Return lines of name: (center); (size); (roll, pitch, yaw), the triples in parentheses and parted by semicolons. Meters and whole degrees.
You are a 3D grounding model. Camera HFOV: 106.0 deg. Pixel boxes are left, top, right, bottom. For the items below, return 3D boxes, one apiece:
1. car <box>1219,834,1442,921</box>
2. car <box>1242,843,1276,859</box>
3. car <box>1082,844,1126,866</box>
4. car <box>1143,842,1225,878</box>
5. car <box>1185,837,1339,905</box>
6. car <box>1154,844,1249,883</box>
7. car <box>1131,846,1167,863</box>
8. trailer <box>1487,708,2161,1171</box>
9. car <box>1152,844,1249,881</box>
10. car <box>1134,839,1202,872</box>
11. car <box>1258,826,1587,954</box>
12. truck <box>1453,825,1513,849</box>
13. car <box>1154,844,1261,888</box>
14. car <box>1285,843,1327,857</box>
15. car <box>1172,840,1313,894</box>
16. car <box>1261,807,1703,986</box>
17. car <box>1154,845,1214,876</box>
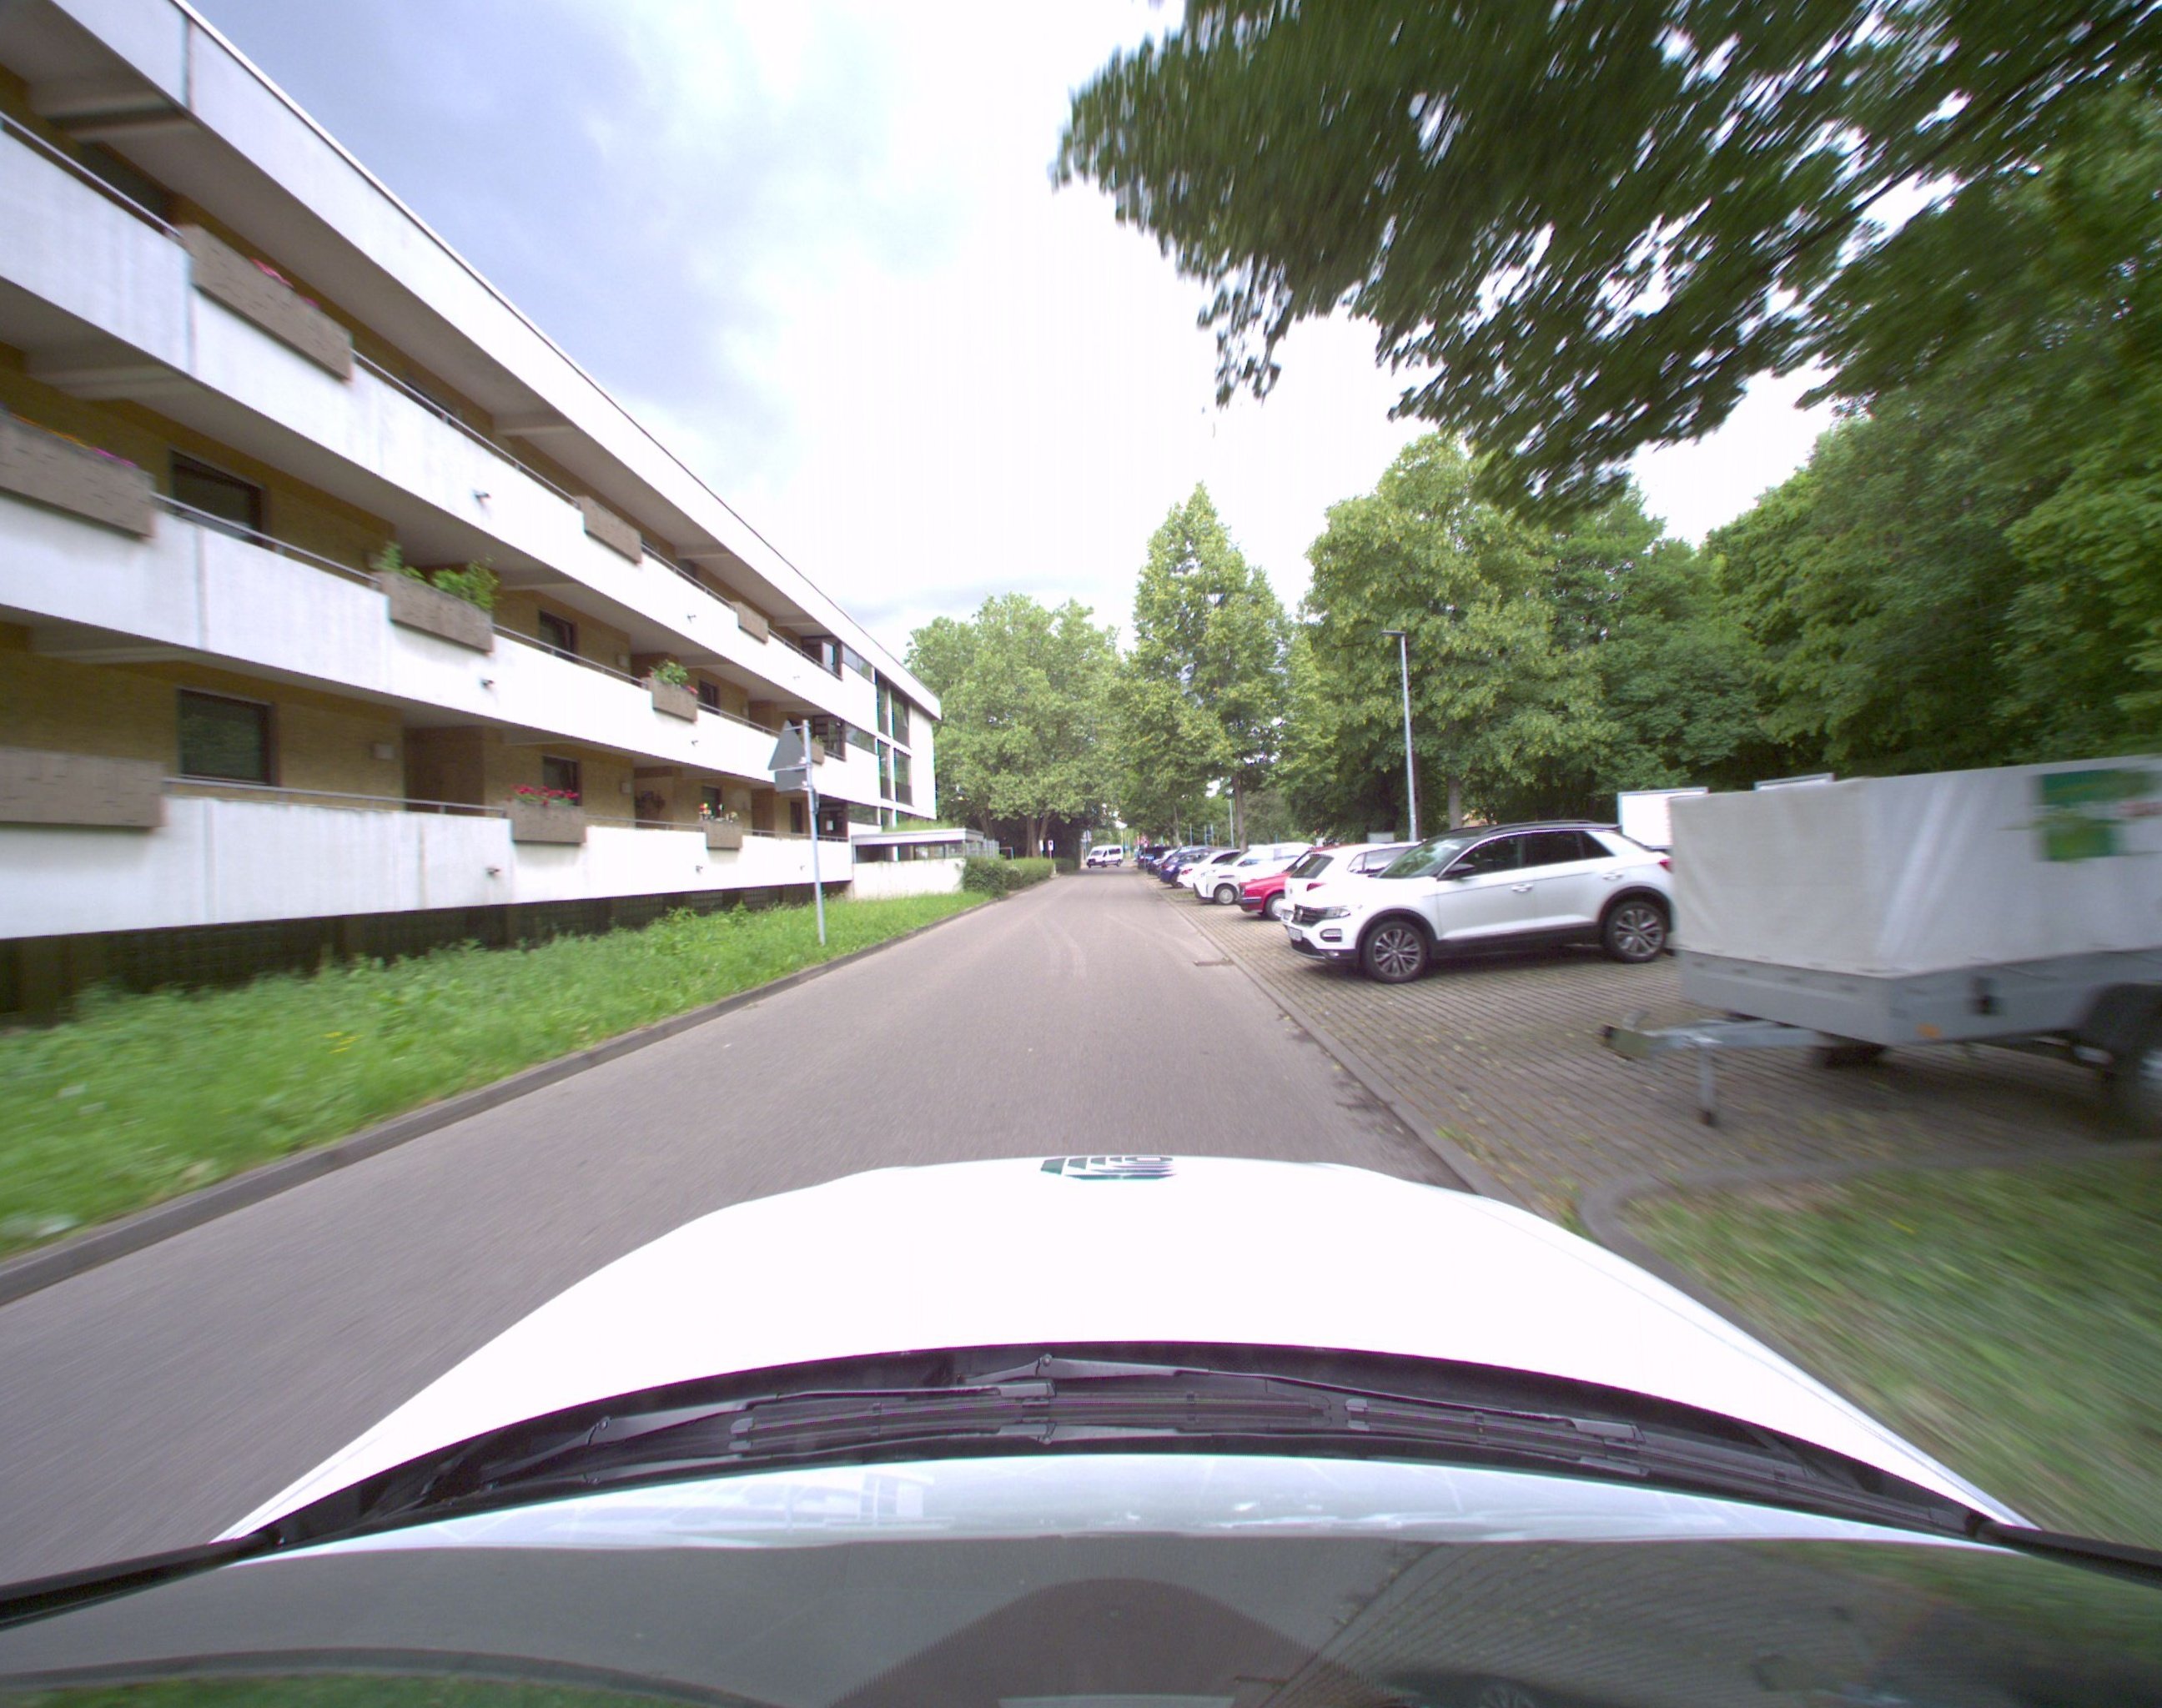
car: (5.084, 0.475, 17.000); (4.040, 1.422, 1.817); (-4, -1, 1)
car: (20.484, -0.318, 93.851); (3.756, 1.668, 1.772); (-3, -1, 9)
car: (2.742, 0.101, 94.969); (2.111, 2.476, 6.317); (-1, 0, 32)
car: (5.828, 0.352, 46.464); (4.398, 1.675, 2.083); (-4, 0, 2)
car: (4.874, 0.449, 22.385); (3.822, 1.515, 1.883); (-4, -1, 5)
car: (5.638, 0.440, 38.447); (4.062, 1.517, 1.850); (-4, -1, -2)
car: (9.556, 0.121, 115.197); (4.951, 1.972, 1.848); (-4, -1, 3)
trailer: (4.055, 0.323, 4.221); (3.020, 1.790, 1.563); (-4, -1, -1)
car: (5.984, 0.404, 41.282); (4.616, 1.517, 1.985); (-4, 0, 4)
car: (6.566, 0.112, 61.921); (4.933, 2.013, 2.168); (-5, 0, 3)
car: (4.831, 0.487, 11.911); (3.999, 1.422, 1.790); (-4, -1, -3)
truck: (44.519, -1.857, 90.231); (5.474, 2.426, 2.198); (-3, -1, 8)
car: (5.113, 0.473, 33.318); (4.056, 1.456, 1.853); (-4, -1, 3)
car: (25.678, -0.464, 92.927); (4.368, 1.428, 1.707); (-3, -1, 8)
car: (5.486, 0.435, 28.146); (4.468, 1.454, 1.847); (-4, -1, 2)
car: (4.369, 0.444, 9.366); (4.100, 1.548, 1.860); (-4, -1, -1)
car: (6.195, 0.373, 49.061); (3.365, 1.574, 1.798); (-4, 0, 2)
